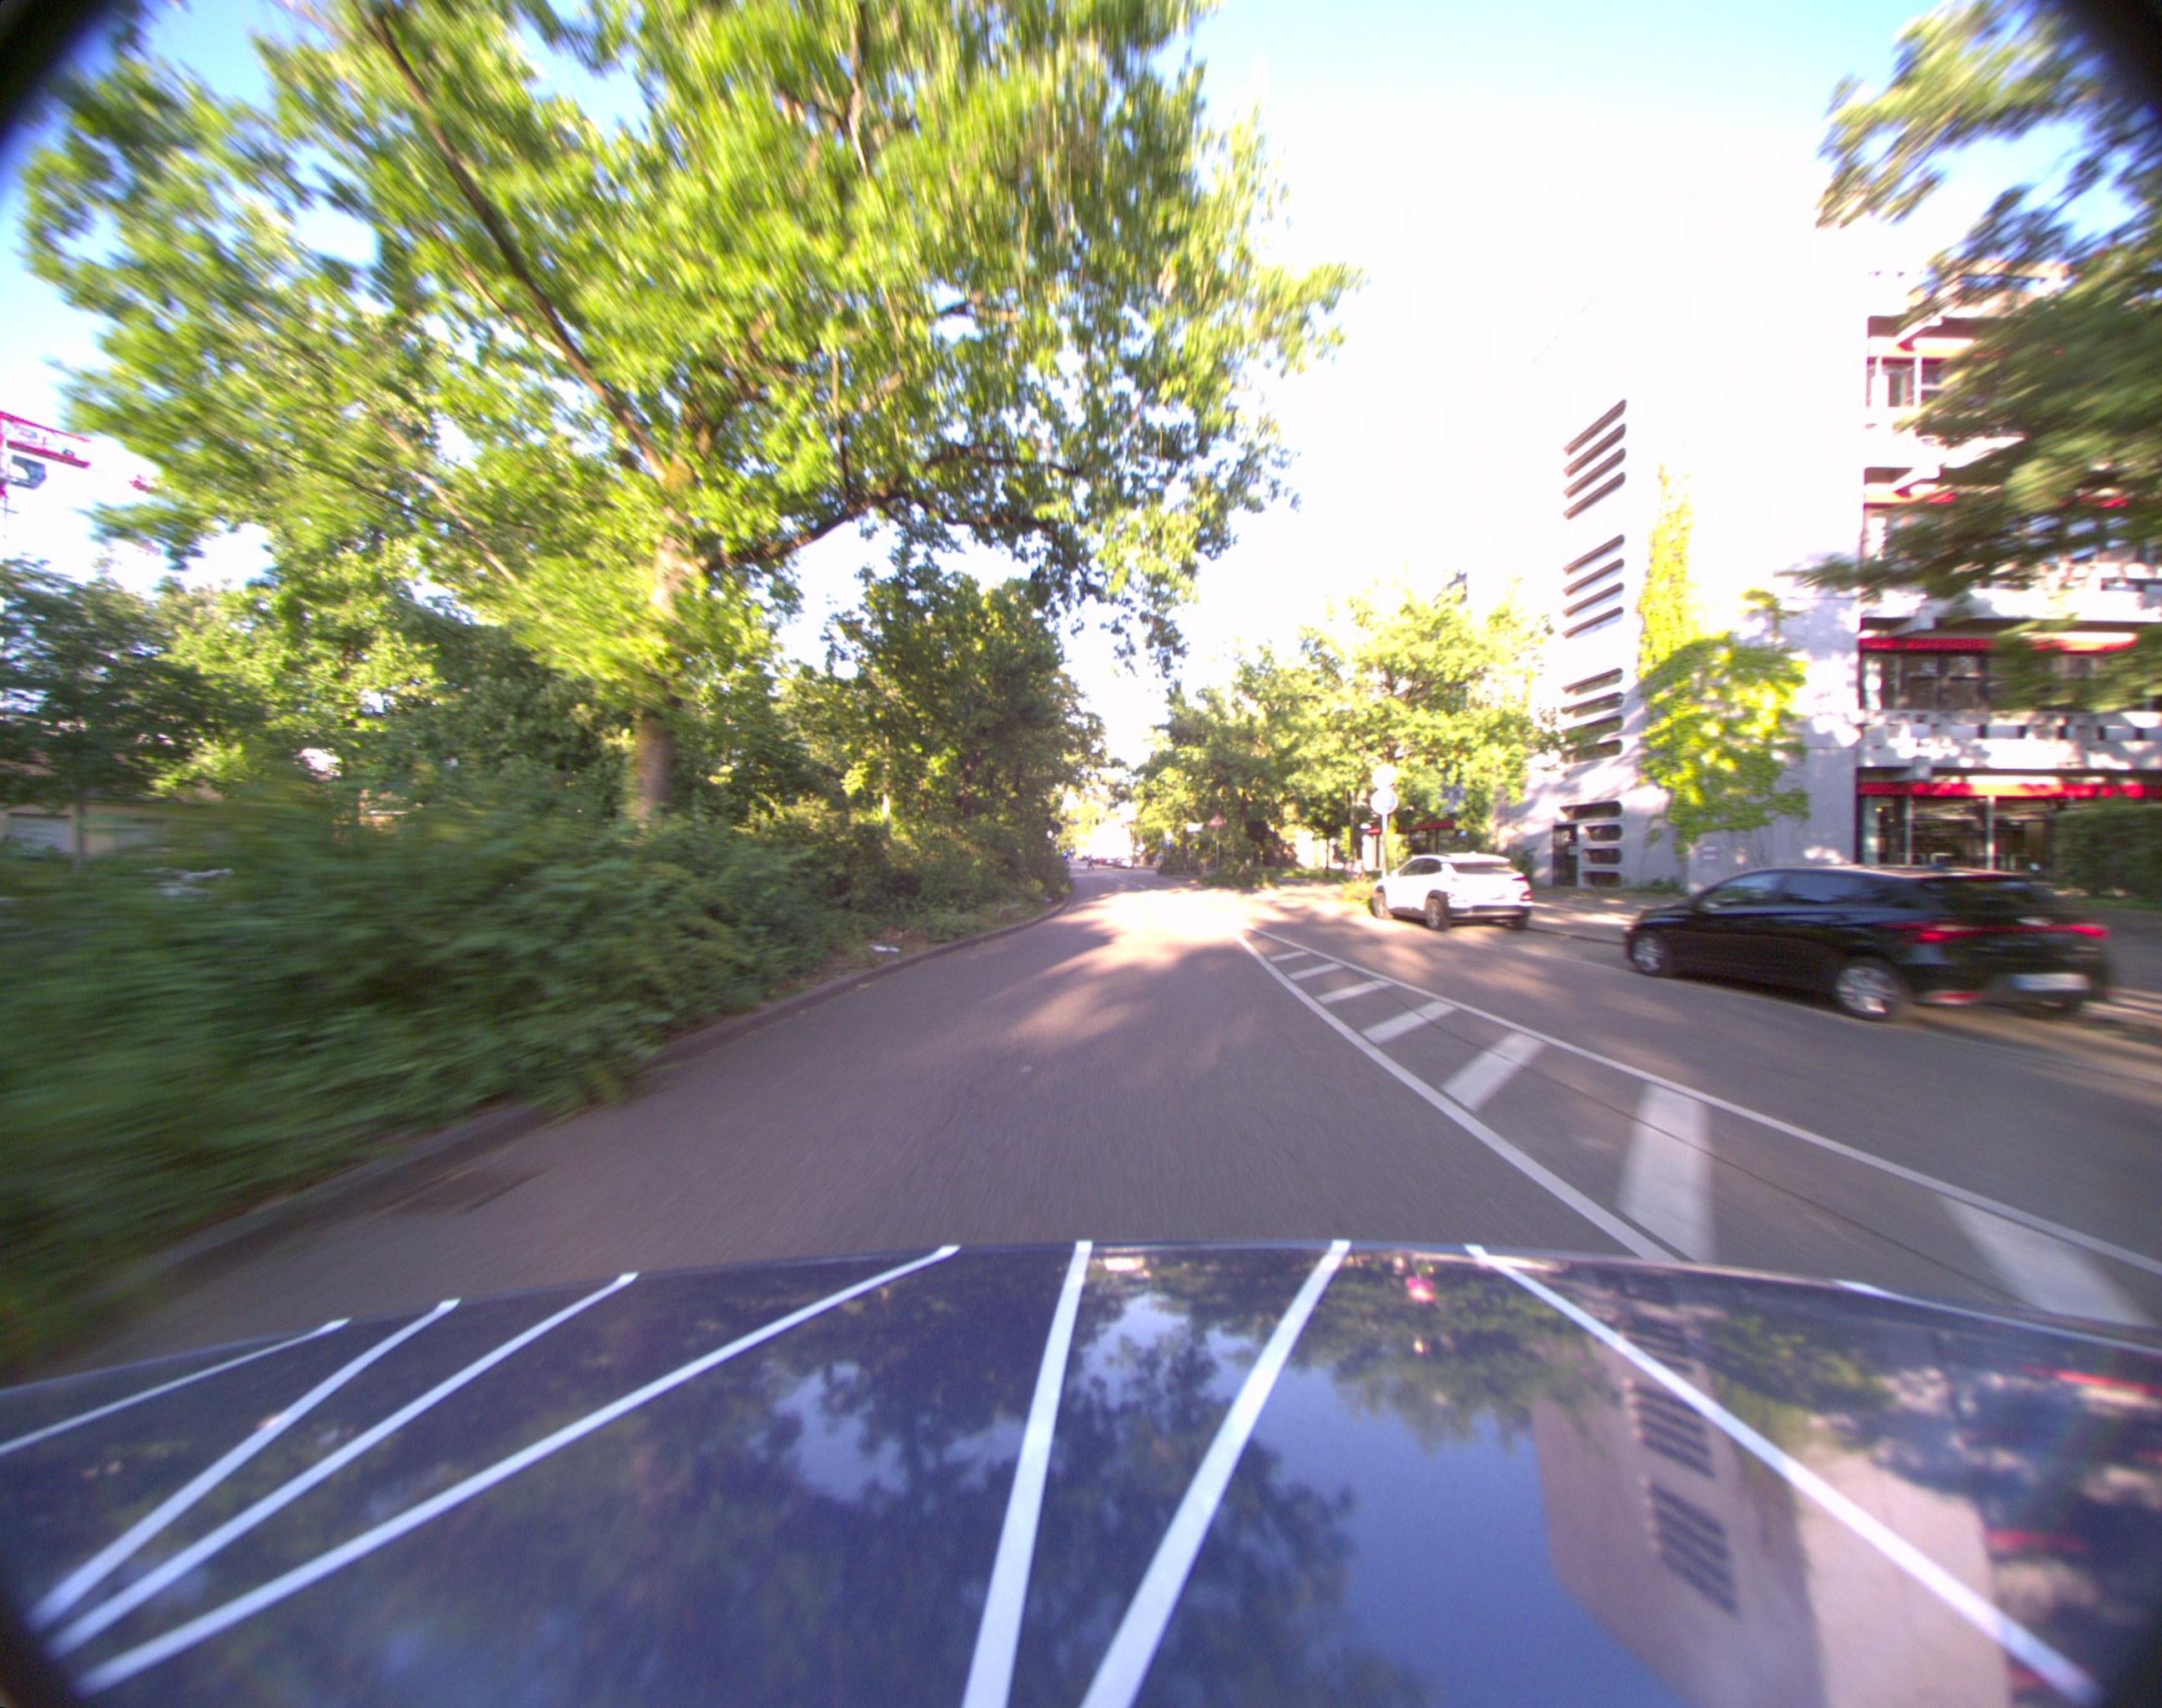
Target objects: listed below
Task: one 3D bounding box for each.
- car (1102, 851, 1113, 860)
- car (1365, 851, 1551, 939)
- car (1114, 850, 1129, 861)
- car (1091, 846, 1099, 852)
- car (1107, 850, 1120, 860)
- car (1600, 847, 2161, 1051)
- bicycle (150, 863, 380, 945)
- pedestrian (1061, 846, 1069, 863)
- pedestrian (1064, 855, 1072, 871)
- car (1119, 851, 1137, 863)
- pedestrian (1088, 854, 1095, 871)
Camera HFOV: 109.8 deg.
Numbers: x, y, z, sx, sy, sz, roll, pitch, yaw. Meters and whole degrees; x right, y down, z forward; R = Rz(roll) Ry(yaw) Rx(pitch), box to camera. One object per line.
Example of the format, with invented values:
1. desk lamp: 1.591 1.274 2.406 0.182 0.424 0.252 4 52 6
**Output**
1. car: 4.773 0.251 138.525 1.776 1.559 4.108 -1 0 -2
2. car: 7.855 0.767 16.326 1.808 1.607 4.146 0 1 -2
3. car: 5.552 0.202 105.232 1.776 1.559 4.108 -1 0 -2
4. car: 3.343 -1.168 184.381 1.776 1.559 4.108 -1 0 -2
5. car: 5.225 0.163 123.396 1.776 1.559 4.108 -1 0 -2
6. car: 7.965 0.749 8.211 1.785 1.607 4.146 -1 1 -2
7. bicycle: -12.859 0.756 12.073 2.452 1.214 0.750 0 1 -15
8. pedestrian: -1.785 0.077 84.472 0.784 1.825 0.672 -2 1 2
9. pedestrian: -1.469 1.016 85.551 0.784 1.825 0.672 -2 1 2
10. car: 5.766 0.358 93.616 1.776 1.474 4.108 -1 0 -2
11. pedestrian: 1.165 0.933 83.819 0.784 1.825 0.672 -2 1 2
